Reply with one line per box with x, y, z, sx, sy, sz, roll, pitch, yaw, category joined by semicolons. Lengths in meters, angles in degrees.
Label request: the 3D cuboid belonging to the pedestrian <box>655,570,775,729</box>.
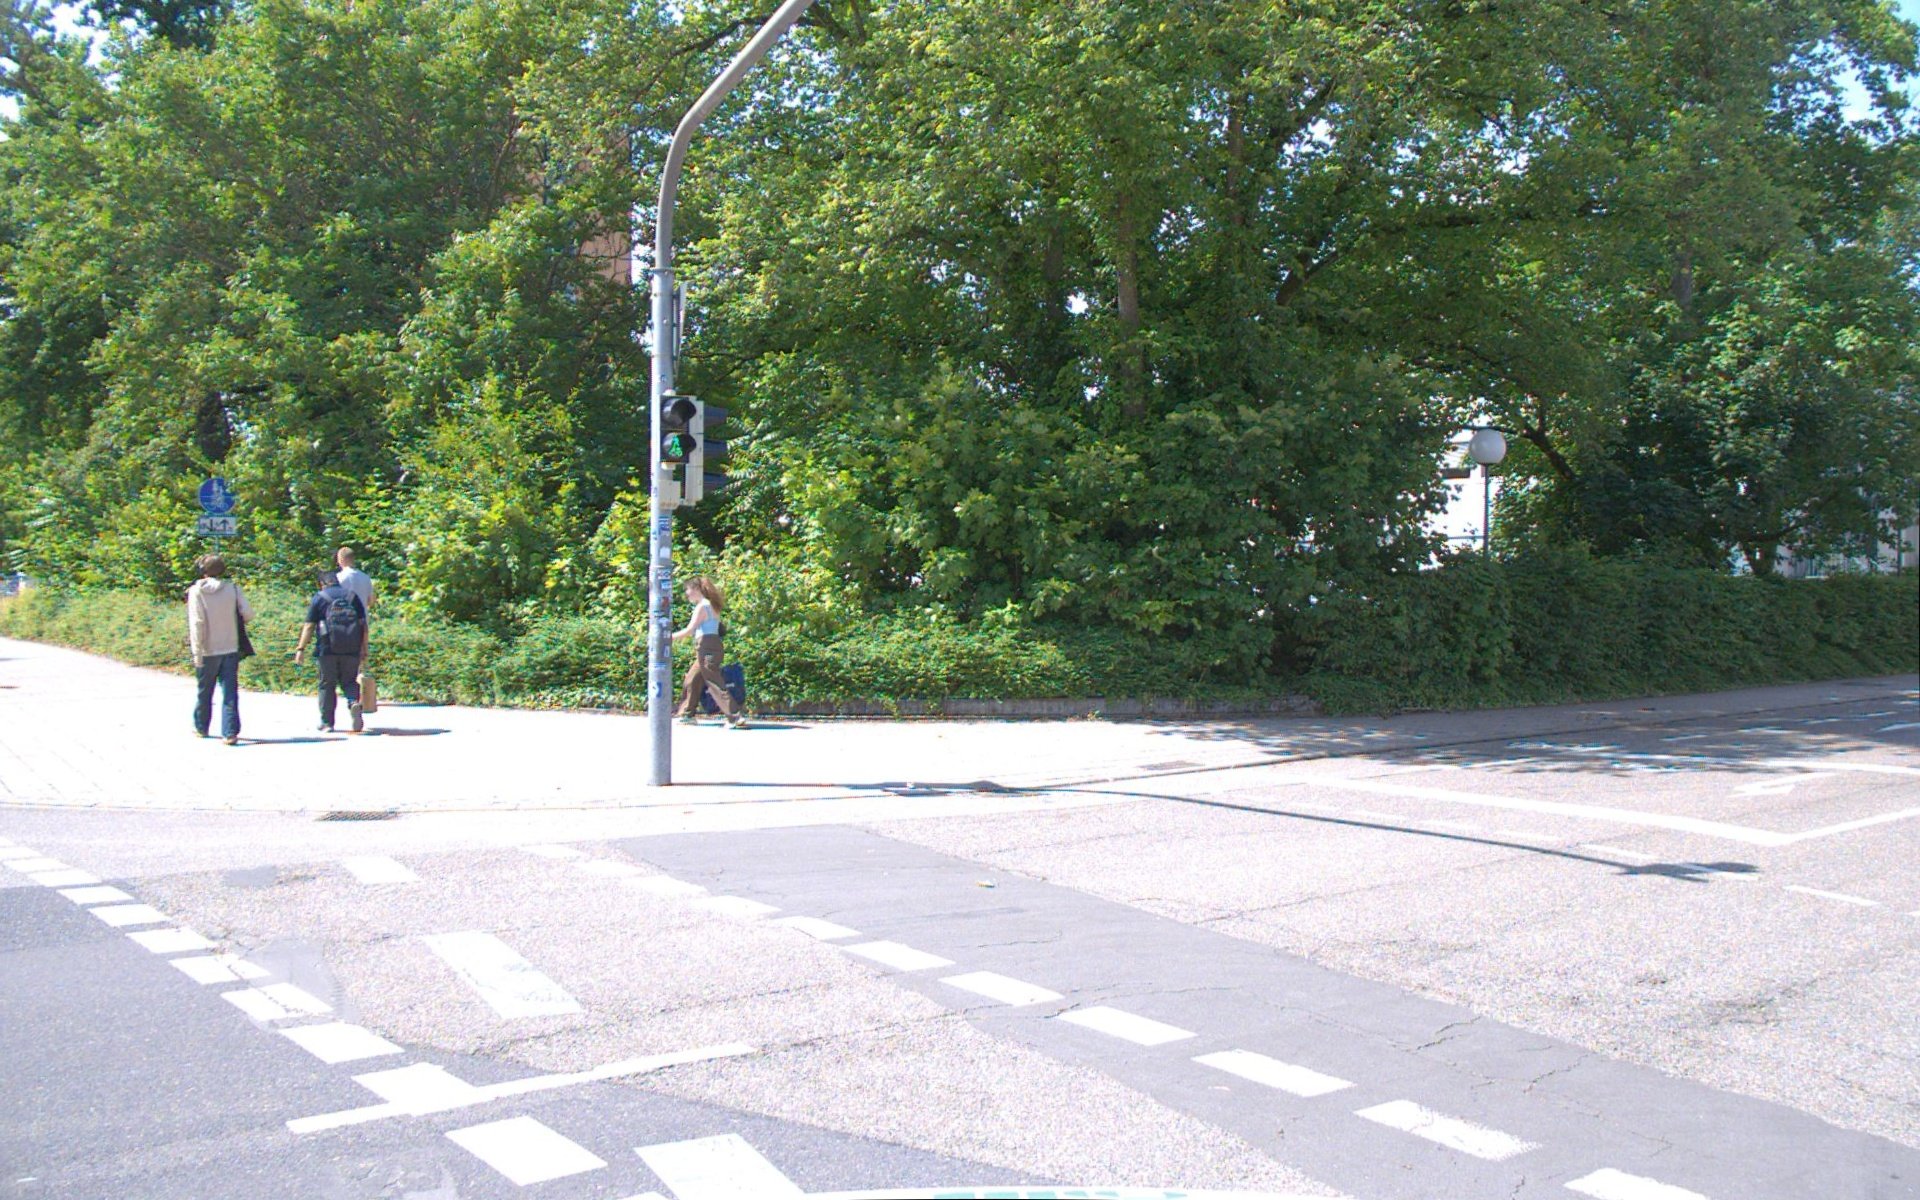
-2.666;0.511;18.065;0.996;1.654;0.857;1;2;24;pedestrian

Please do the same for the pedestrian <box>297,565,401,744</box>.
-6.197;0.524;16.752;0.786;1.734;1.171;1;0;-29;pedestrian

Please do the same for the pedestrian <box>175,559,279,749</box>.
-7.038;0.491;15.860;0.786;1.734;1.171;1;0;-29;pedestrian

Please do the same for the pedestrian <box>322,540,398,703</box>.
-6.970;0.242;19.207;0.664;1.852;0.695;1;0;-33;pedestrian
